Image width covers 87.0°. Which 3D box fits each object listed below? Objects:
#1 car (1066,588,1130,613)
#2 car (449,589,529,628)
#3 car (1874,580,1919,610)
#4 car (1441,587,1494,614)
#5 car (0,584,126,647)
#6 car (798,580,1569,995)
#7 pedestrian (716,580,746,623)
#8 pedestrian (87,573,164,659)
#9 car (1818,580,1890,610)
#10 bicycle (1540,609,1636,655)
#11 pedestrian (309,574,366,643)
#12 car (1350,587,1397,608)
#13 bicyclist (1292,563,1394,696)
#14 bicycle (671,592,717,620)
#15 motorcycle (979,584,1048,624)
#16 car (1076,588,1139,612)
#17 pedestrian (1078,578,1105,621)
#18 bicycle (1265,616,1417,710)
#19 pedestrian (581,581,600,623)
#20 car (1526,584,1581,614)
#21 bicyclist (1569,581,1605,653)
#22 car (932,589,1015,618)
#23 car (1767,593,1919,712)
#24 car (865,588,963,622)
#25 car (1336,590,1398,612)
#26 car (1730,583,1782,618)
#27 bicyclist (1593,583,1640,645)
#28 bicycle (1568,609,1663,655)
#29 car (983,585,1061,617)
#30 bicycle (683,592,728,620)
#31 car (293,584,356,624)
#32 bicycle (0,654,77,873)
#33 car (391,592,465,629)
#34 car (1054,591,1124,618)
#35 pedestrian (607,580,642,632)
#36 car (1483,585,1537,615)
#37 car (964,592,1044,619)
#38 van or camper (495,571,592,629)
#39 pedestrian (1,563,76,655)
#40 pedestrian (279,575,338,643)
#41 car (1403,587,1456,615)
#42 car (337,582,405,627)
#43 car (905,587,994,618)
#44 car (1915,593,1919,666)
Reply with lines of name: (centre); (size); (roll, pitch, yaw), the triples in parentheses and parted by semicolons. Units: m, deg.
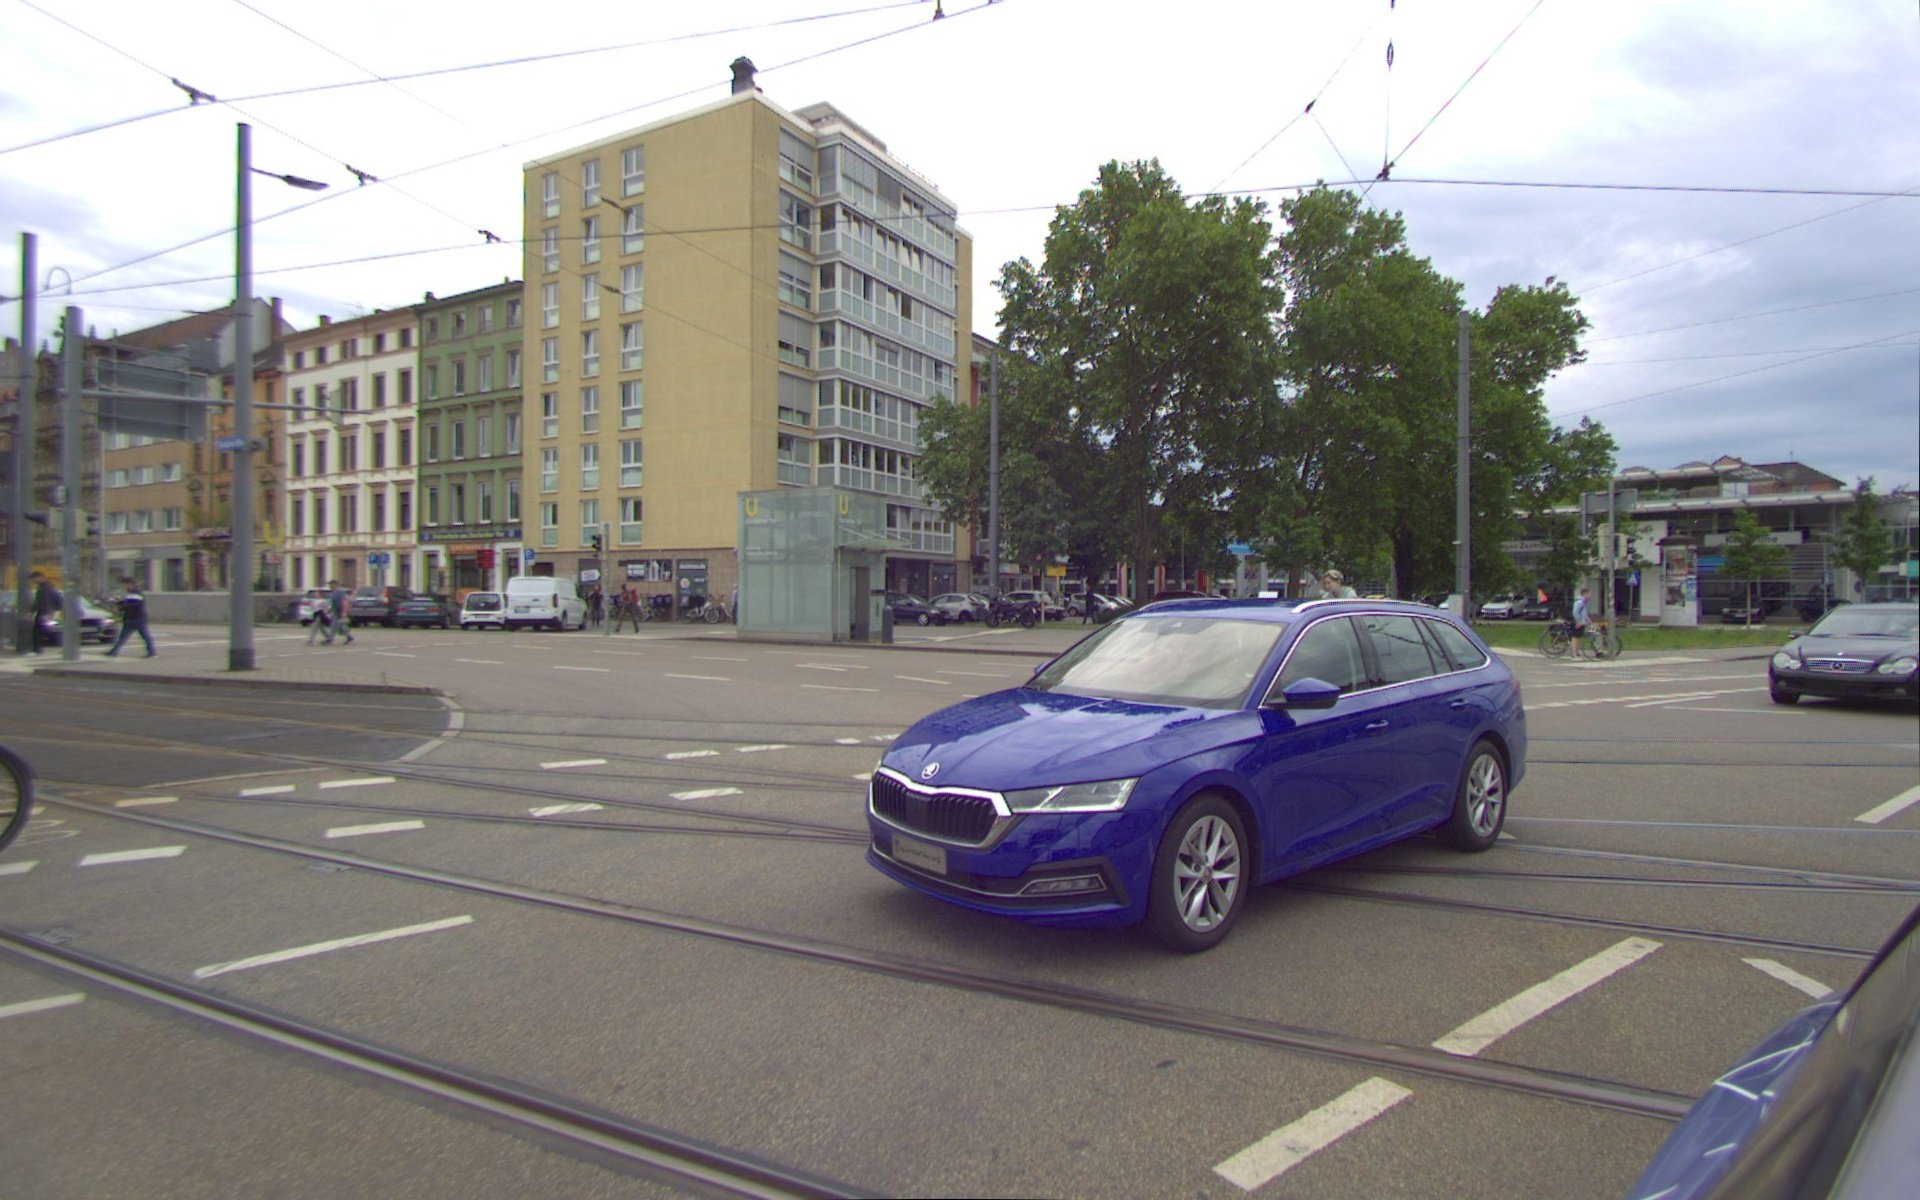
car: (9.239, 0.012, 67.719); (3.954, 1.634, 1.985); (0, 0, 23)
car: (-18.168, 0.298, 39.168); (1.701, 1.435, 3.743); (0, 1, -6)
car: (52.835, -0.302, 56.012); (1.767, 1.580, 4.011); (-1, 0, 18)
car: (36.873, 0.005, 73.500); (4.159, 1.483, 1.955); (-8, 5, -40)
car: (-23.773, 0.365, 26.336); (4.413, 1.505, 1.977); (0, 1, 33)
car: (1.569, 0.623, 5.726); (4.672, 1.454, 1.769); (-1, 1, -40)
pedestrian: (-9.492, 0.063, 41.934); (0.898, 1.759, 0.805); (0, 0, 28)
pedestrian: (-16.665, 0.308, 20.237); (0.771, 1.664, 0.902); (-1, 0, 7)
car: (50.426, -0.298, 57.159); (1.937, 1.544, 4.194); (-1, 2, 25)
bicycle: (15.617, 0.784, 25.179); (1.980, 1.010, 0.572); (2, 3, 36)
pedestrian: (-14.971, 0.202, 24.341); (0.771, 1.622, 0.895); (-1, 0, 7)
car: (32.679, -0.193, 80.095); (1.416, 1.530, 3.119); (-6, 4, -39)
bicyclist: (4.930, 0.369, 13.041); (0.915, 1.639, 0.791); (-1, -1, -32)
bicycle: (-11.517, 0.263, 43.795); (2.021, 1.183, 0.663); (0, 0, 28)
motorcycle: (1.903, 0.119, 36.172); (2.266, 1.383, 1.039); (0, 1, 22)
car: (10.249, -0.001, 70.215); (3.954, 1.634, 1.985); (0, 0, 23)
pedestrian: (5.707, -0.045, 43.893); (0.862, 1.842, 0.886); (0, 0, 38)
bicycle: (4.913, 0.771, 13.015); (1.977, 1.093, 0.764); (-1, -1, -32)
pedestrian: (-15.277, 0.080, 41.847); (0.605, 1.737, 0.825); (0, 1, -31)
car: (40.584, -0.071, 69.180); (4.162, 1.472, 1.955); (-10, 7, -40)
bicyclist: (15.597, 0.411, 25.189); (0.730, 1.773, 0.579); (0, 1, 35)
car: (0.708, 0.153, 52.667); (3.952, 1.460, 1.986); (1, 1, 22)
car: (13.011, 0.623, 13.987); (4.338, 1.387, 1.771); (-1, 1, -35)
car: (-2.104, 0.193, 45.758); (4.131, 1.461, 1.823); (1, 1, 30)
car: (31.424, 0.095, 78.255); (1.627, 1.530, 4.145); (-6, 4, -39)
car: (47.553, 0.004, 60.409); (1.951, 1.662, 4.604); (0, 5, 44)
bicyclist: (16.832, 0.344, 25.947); (0.883, 1.540, 0.662); (3, 2, 43)
bicycle: (16.789, 0.805, 25.945); (1.940, 1.010, 0.593); (4, 3, 43)
car: (3.449, 0.044, 56.619); (3.954, 1.745, 1.985); (0, 0, 23)
bicycle: (-11.173, 0.258, 44.393); (2.021, 1.183, 0.663); (0, 0, 28)
car: (-26.662, 0.141, 42.574); (1.700, 1.607, 3.745); (-1, 1, -23)
bicycle: (-5.658, 0.856, 4.876); (2.088, 1.068, 0.626); (-1, 0, -40)
car: (-20.691, 0.369, 39.476); (1.645, 1.320, 3.746); (-1, 1, -13)
car: (8.058, 0.237, 63.056); (3.954, 1.634, 1.985); (0, 0, 23)
pedestrian: (-11.651, 0.203, 35.143); (0.775, 1.779, 1.047); (0, 1, 9)
car: (38.848, -0.052, 71.418); (4.160, 1.615, 1.955); (-9, 6, -40)
car: (2.353, 0.280, 54.471); (3.952, 1.352, 1.824); (1, 1, 22)
van or camper: (-15.419, -0.036, 37.781); (2.128, 2.003, 5.475); (0, 1, -9)
pedestrian: (-19.744, 0.183, 21.700); (0.771, 1.936, 0.902); (-1, 0, 7)
pedestrian: (-15.816, 0.207, 24.582); (0.755, 1.632, 0.949); (-1, 0, 7)
car: (35.054, 0.055, 75.534); (4.160, 1.530, 1.955); (-9, 6, -40)
car: (-23.805, 0.171, 41.025); (1.852, 1.602, 3.745); (4, -1, -23)
car: (-0.511, 0.141, 50.215); (3.955, 1.482, 1.984); (0, 0, 24)
car: (21.856, 0.575, 21.336); (3.858, 1.502, 1.710); (-1, -1, -34)
